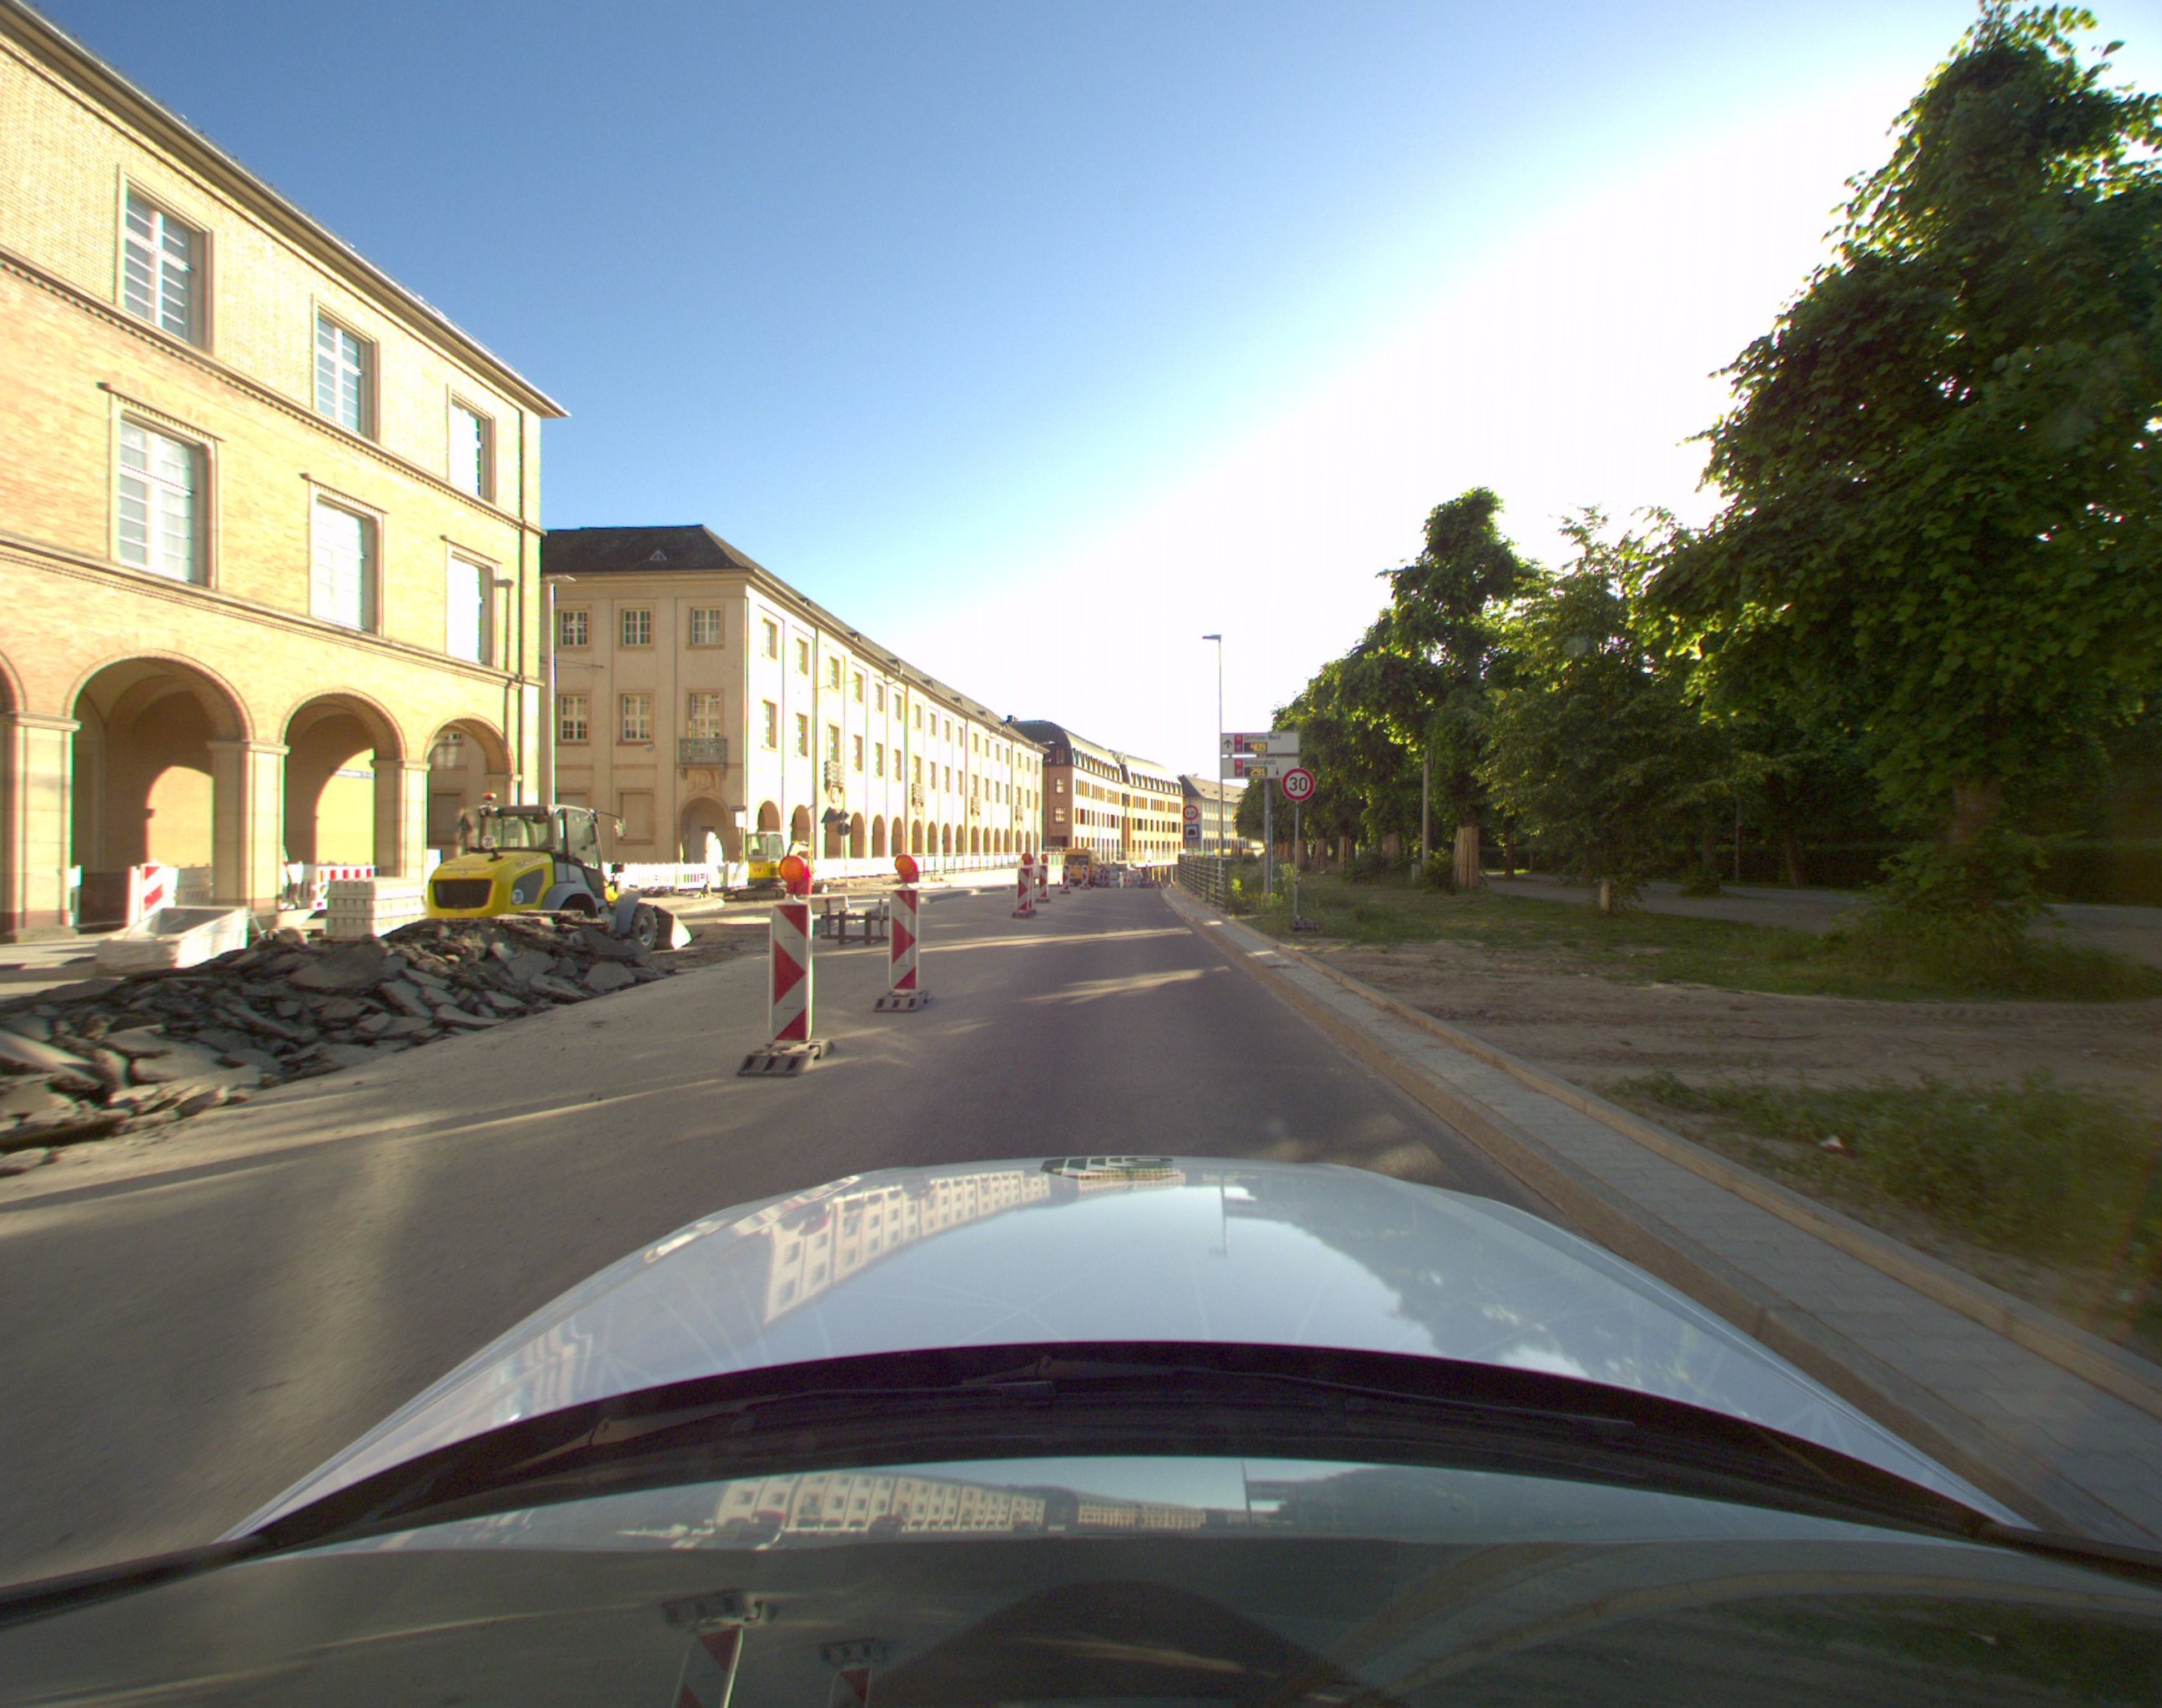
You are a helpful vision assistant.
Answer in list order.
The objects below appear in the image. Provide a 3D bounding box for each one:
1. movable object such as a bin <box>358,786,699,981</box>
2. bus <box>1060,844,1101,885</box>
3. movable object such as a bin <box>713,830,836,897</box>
[{"bbox_3d":[-8.083,0.324,12.634,2.067,2.475,4.617,0,1,0],"label":"movable object such as a bin"},{"bbox_3d":[0.026,0.754,54.909,2.061,2.687,4.693,0,-2,8],"label":"bus"},{"bbox_3d":[-11.411,0.330,30.724,2.533,2.348,4.468,0,0,6],"label":"movable object such as a bin"}]
